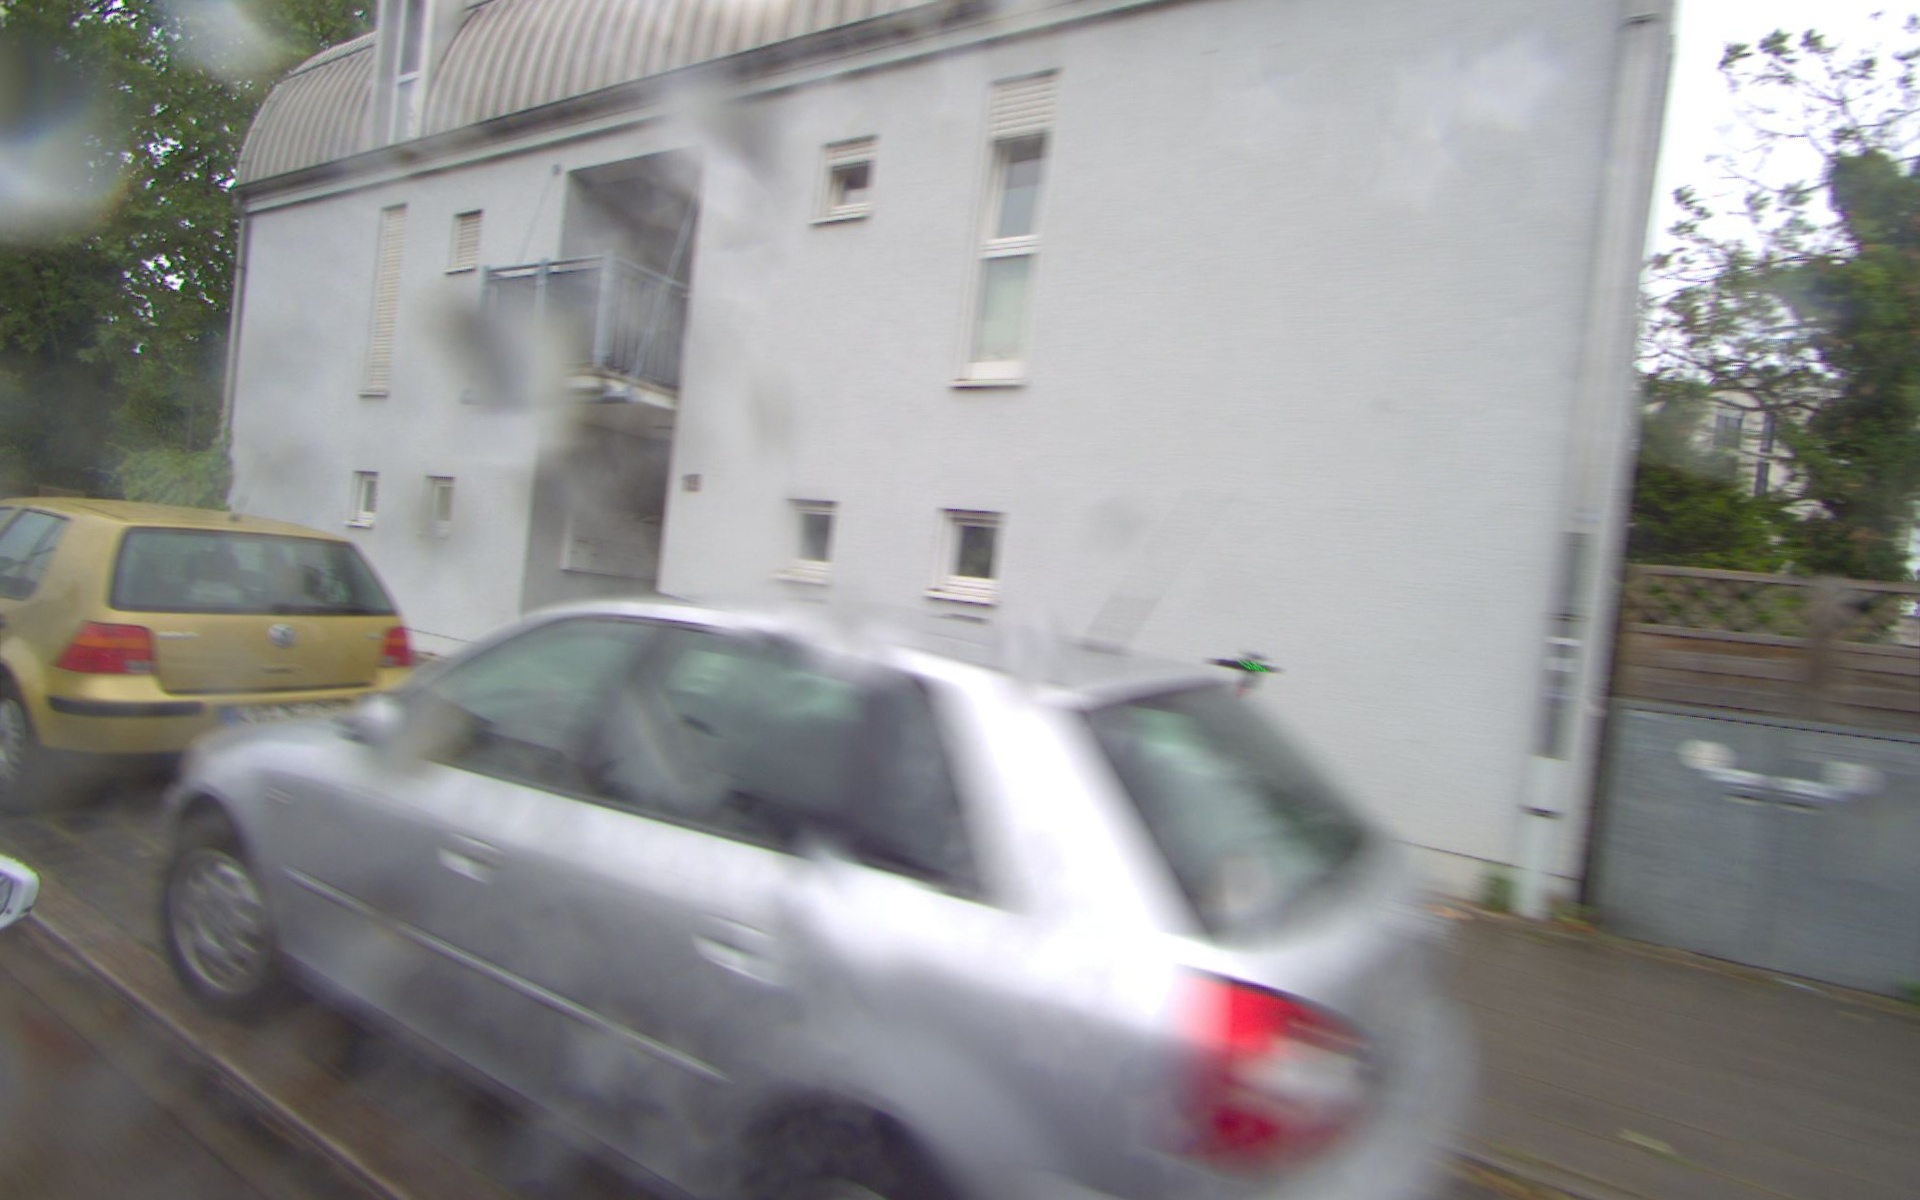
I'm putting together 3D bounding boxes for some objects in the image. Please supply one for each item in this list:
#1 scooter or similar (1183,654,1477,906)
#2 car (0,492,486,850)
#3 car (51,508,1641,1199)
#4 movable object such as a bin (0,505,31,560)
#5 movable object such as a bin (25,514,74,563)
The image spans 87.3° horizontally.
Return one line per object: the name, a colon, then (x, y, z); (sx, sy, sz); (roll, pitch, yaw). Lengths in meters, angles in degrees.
scooter or similar: (1.990, 0.928, 5.519); (1.375, 1.098, 0.333); (6, -1, 38)
car: (-4.695, 0.161, 5.810); (3.732, 1.424, 1.806); (6, 3, 33)
car: (-0.832, 0.595, 3.006); (4.574, 1.424, 1.649); (6, 3, 33)
movable object such as a bin: (-18.942, -1.350, 19.967); (0.726, 1.035, 0.536); (6, 3, 32)
movable object such as a bin: (-18.424, -1.236, 20.363); (0.726, 0.911, 0.536); (6, 3, 32)
